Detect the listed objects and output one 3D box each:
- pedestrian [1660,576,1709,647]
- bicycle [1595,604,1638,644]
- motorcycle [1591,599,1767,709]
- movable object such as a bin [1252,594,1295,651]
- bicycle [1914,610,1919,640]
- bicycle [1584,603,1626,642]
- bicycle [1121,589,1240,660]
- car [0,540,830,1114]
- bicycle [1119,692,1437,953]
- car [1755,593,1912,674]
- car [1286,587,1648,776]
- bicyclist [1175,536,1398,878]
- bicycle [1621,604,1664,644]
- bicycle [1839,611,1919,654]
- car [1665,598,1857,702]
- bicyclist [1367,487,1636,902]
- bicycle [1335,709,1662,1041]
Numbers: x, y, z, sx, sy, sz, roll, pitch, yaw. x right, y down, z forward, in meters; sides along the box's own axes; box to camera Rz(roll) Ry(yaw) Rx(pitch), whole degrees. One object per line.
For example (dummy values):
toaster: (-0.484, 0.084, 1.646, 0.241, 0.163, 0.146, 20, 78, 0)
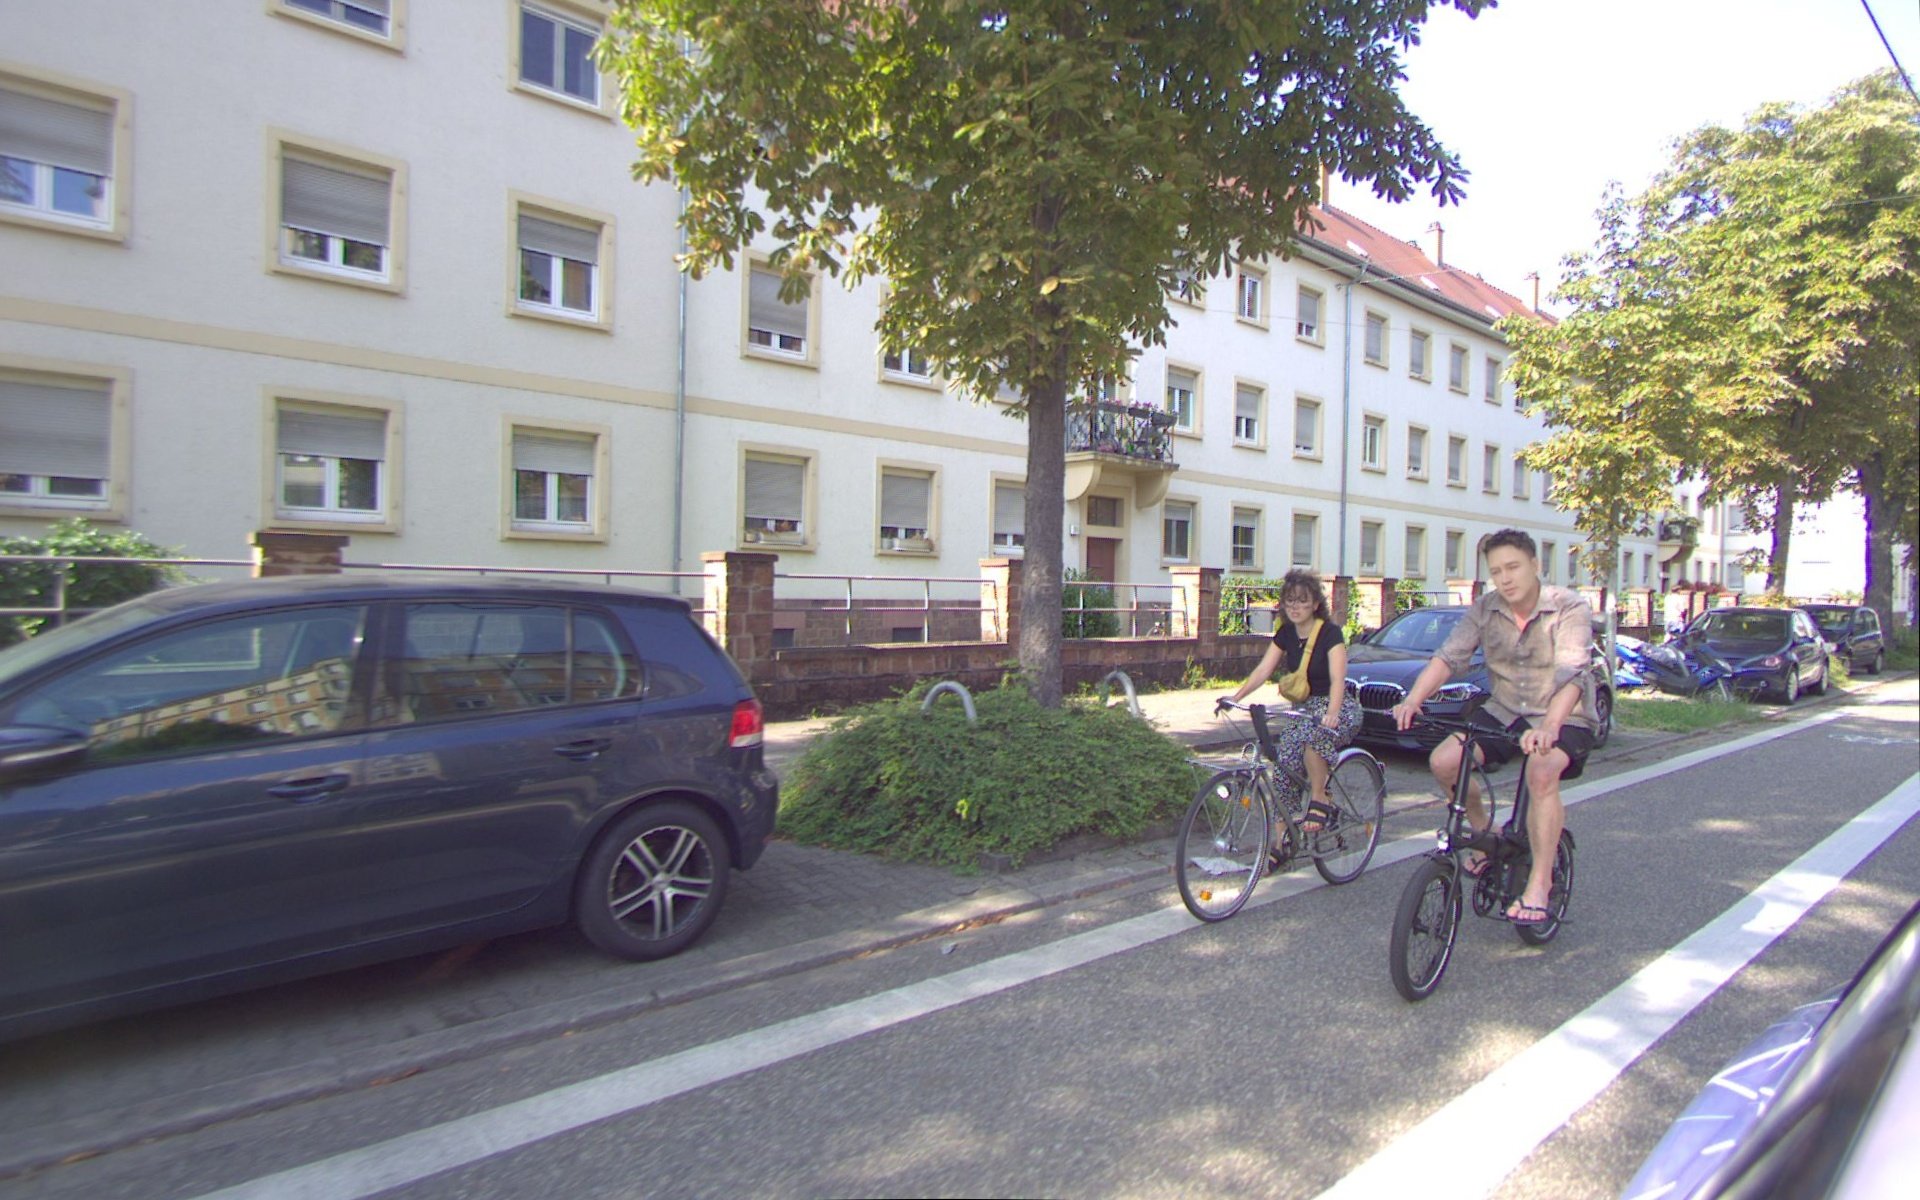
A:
pedestrian: (18.420, 0.276, 25.728, 0.861, 1.771, 0.755, 1, 0, -33)
bicycle: (18.619, 0.673, 28.703, 1.697, 1.087, 0.525, 0, 0, -39)
motorcycle: (10.271, 0.749, 14.505, 0.693, 1.306, 1.858, 7, 0, -42)
movable object such as a bin: (6.066, 0.430, 19.608, 0.648, 1.083, 0.508, 1, 0, -39)
bicycle: (36.470, 0.944, 37.993, 2.293, 1.118, 0.773, 1, 0, -42)
bicycle: (18.781, 0.635, 29.438, 1.697, 1.087, 0.525, 0, 0, -39)
bicycle: (3.756, 0.396, 17.090, 2.293, 1.118, 0.773, 1, 0, -42)
car: (-2.654, 0.576, 3.732, 4.023, 1.520, 1.693, 0, 3, -40)
bicycle: (1.598, 0.978, 4.933, 1.744, 0.920, 0.655, 0, -1, -41)
car: (19.223, 0.687, 22.251, 3.768, 1.559, 1.652, 0, 2, -34)
car: (5.276, 0.667, 10.279, 4.260, 1.452, 1.694, 0, 3, -40)
bicyclist: (1.601, 0.469, 4.962, 0.892, 1.493, 0.655, 1, -2, -40)
bicycle: (19.099, 0.653, 28.307, 1.697, 1.087, 0.525, 0, 0, -39)
bicycle: (23.983, 0.847, 26.347, 1.696, 1.087, 0.525, 1, 0, 3)
car: (13.507, 0.741, 16.992, 4.170, 1.466, 1.649, 0, 3, -40)
bicyclist: (2.148, 0.325, 4.003, 0.913, 1.419, 0.627, 0, -2, -40)
bicycle: (2.162, 0.963, 3.992, 1.498, 0.920, 0.627, 0, -1, -41)
